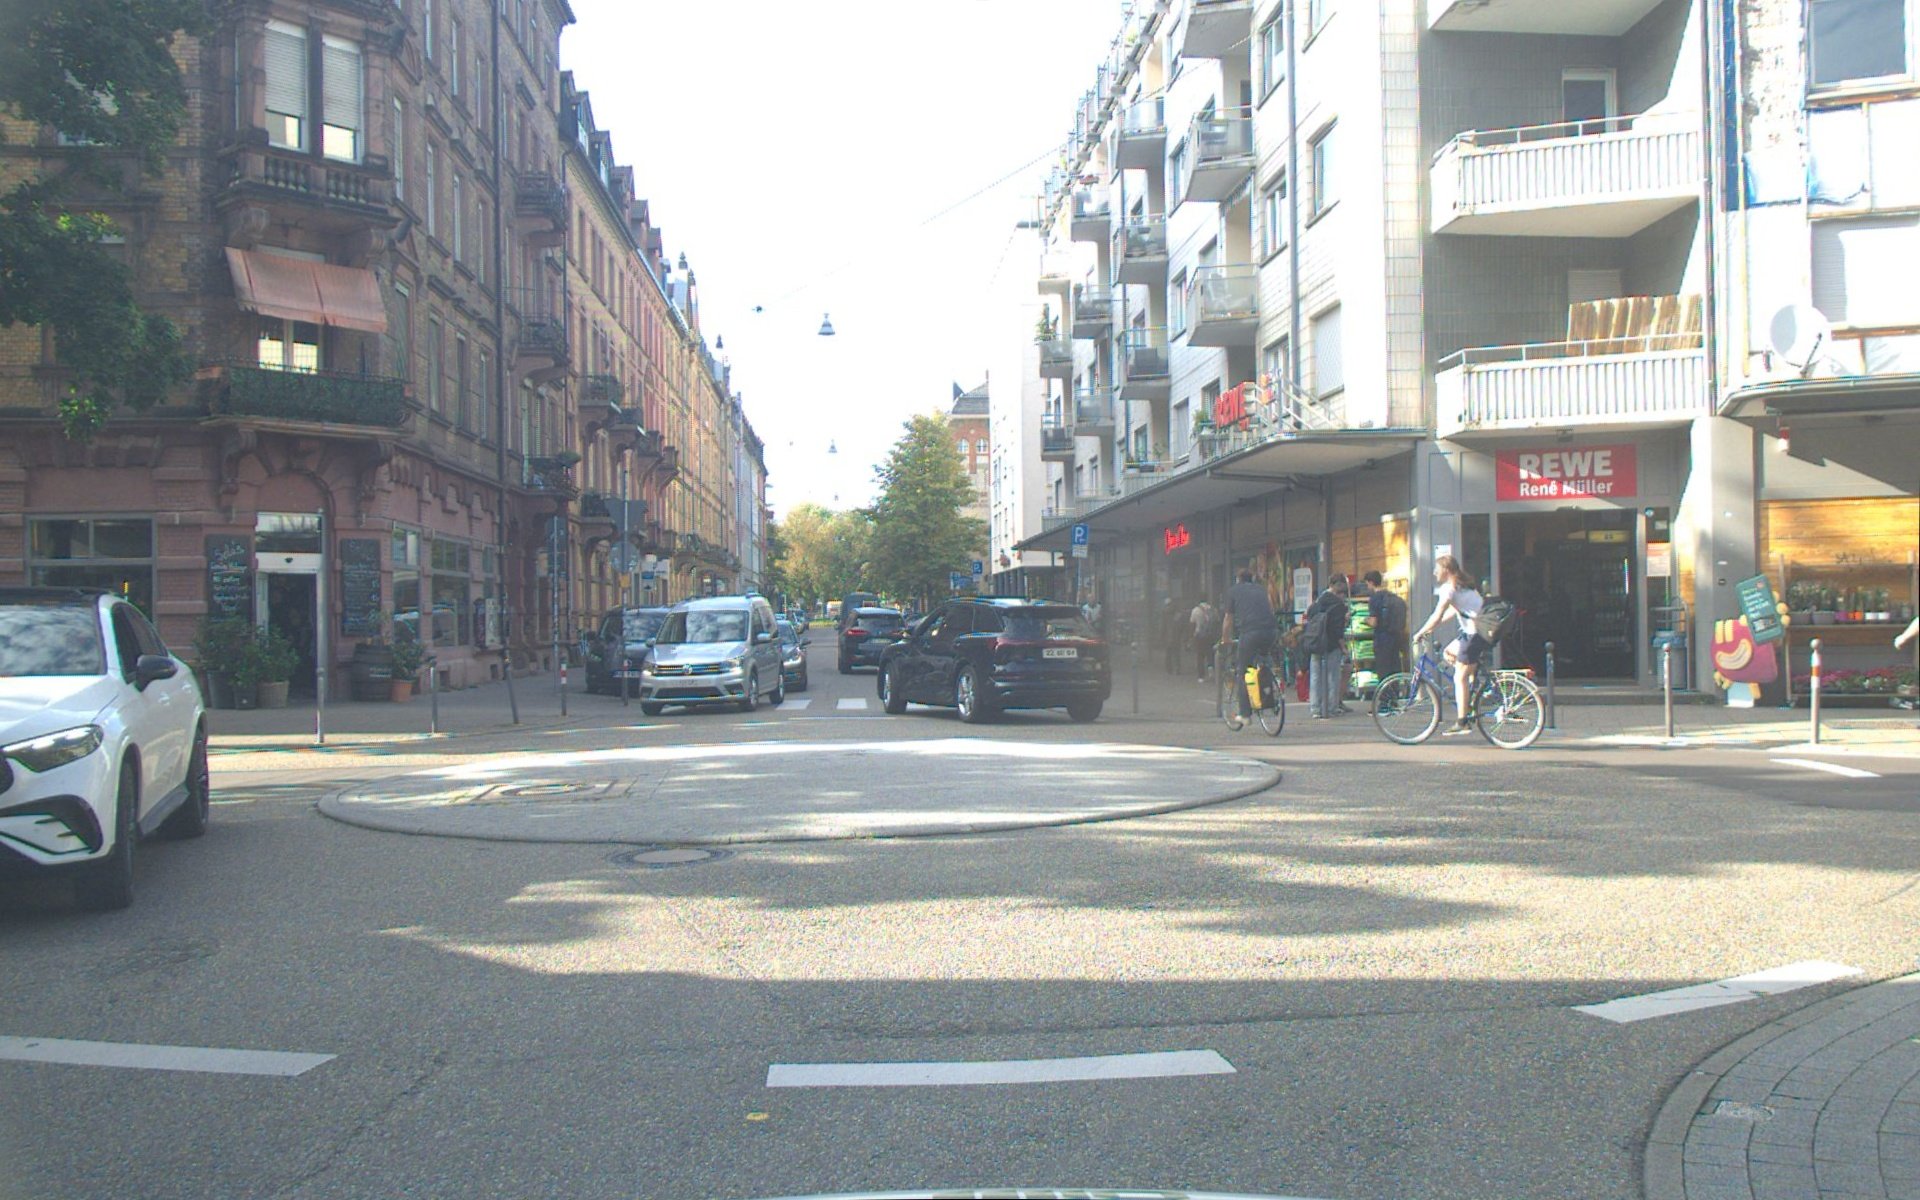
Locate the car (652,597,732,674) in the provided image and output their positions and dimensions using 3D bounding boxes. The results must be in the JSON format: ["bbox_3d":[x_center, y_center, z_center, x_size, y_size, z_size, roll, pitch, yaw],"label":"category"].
[{"bbox_3d":[-7.524,0.975,46.773,1.955,2.049,3.995,-1,0,-6],"label":"car"}]

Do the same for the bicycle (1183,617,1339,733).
[{"bbox_3d":[3.321,0.795,18.513,0.655,1.199,2.485,1,-1,-17],"label":"bicycle"}]

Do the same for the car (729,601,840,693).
[{"bbox_3d":[-3.660,0.949,35.300,1.889,1.755,4.734,-2,0,-1],"label":"car"}]

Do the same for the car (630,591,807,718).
[{"bbox_3d":[-3.815,0.822,26.953,1.755,1.822,4.738,-2,0,5],"label":"car"}]

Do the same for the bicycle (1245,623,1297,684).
[{"bbox_3d":[5.458,0.920,29.090,0.356,1.034,1.427,-1,0,-12],"label":"bicycle"}]

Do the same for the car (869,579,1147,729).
[{"bbox_3d":[0.508,0.651,22.853,2.008,1.754,4.812,-3,1,-23],"label":"car"}]

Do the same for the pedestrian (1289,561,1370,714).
[{"bbox_3d":[4.633,0.466,20.782,0.851,1.883,0.612,-1,-1,1],"label":"pedestrian"}]

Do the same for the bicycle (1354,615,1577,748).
[{"bbox_3d":[4.895,0.775,16.073,1.934,1.220,0.710,-1,-1,34],"label":"bicycle"}]

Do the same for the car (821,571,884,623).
[{"bbox_3d":[-3.428,-0.140,53.187,1.773,1.513,4.162,-2,1,-1],"label":"car"}]

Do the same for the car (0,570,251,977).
[{"bbox_3d":[-5.371,0.775,9.355,1.912,1.752,4.826,-3,1,-17],"label":"car"}]

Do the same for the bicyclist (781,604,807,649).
[{"bbox_3d":[-7.606,1.216,75.690,1.112,2.033,1.026,1,-1,-9],"label":"bicyclist"}]

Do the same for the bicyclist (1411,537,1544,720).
[{"bbox_3d":[5.010,0.268,15.987,0.994,1.697,0.941,-1,-1,32],"label":"bicyclist"}]

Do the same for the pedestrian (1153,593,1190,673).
[{"bbox_3d":[4.485,0.690,35.040,0.729,1.657,0.813,-1,-1,7],"label":"pedestrian"}]

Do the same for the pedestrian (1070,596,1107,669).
[{"bbox_3d":[2.947,0.733,37.872,0.715,1.639,0.791,-1,-1,11],"label":"pedestrian"}]

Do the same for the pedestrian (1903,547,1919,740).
[{"bbox_3d":[9.105,0.394,15.056,0.615,1.769,0.776,-1,-1,8],"label":"pedestrian"}]

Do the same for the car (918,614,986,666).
[{"bbox_3d":[-0.302,1.234,52.623,1.954,1.512,3.997,-2,0,-3],"label":"car"}]

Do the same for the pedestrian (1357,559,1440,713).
[{"bbox_3d":[5.493,0.444,20.753,0.851,1.883,0.612,-1,-1,1],"label":"pedestrian"}]

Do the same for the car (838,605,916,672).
[{"bbox_3d":[-2.235,0.995,43.767,1.954,1.646,3.996,-1,0,-4],"label":"car"}]

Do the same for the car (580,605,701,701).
[{"bbox_3d":[-6.606,1.048,34.629,1.746,1.754,4.444,0,1,-1],"label":"car"}]

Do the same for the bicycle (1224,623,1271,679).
[{"bbox_3d":[5.451,0.955,31.453,0.353,1.016,1.712,-1,0,-8],"label":"bicycle"}]

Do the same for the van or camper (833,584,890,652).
[{"bbox_3d":[-4.732,0.860,78.753,2.483,3.090,4.452,-1,0,-6],"label":"van or camper"}]

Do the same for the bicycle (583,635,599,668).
[{"bbox_3d":[-11.014,1.524,49.360,0.353,0.963,1.712,0,-1,-8],"label":"bicycle"}]

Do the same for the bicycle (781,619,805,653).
[{"bbox_3d":[-7.656,1.642,75.640,0.908,1.515,3.457,1,-1,-8],"label":"bicycle"}]

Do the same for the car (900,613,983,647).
[{"bbox_3d":[-0.930,1.461,81.368,3.911,1.512,1.997,-2,0,-7],"label":"car"}]

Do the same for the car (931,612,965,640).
[{"bbox_3d":[-0.644,1.383,89.110,1.613,1.347,3.574,-4,0,-3],"label":"car"}]

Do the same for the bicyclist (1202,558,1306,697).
[{"bbox_3d":[3.286,0.303,18.515,0.919,1.510,0.743,1,-1,-18],"label":"bicyclist"}]

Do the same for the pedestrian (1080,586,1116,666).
[{"bbox_3d":[3.351,0.634,40.130,0.715,1.897,1.063,-1,-1,11],"label":"pedestrian"}]

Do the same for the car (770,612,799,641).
[{"bbox_3d":[-12.775,1.929,120.284,1.954,2.049,3.996,-1,0,-5],"label":"car"}]

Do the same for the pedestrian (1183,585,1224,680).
[{"bbox_3d":[4.580,0.609,31.139,0.725,1.742,0.734,-1,-1,7],"label":"pedestrian"}]
